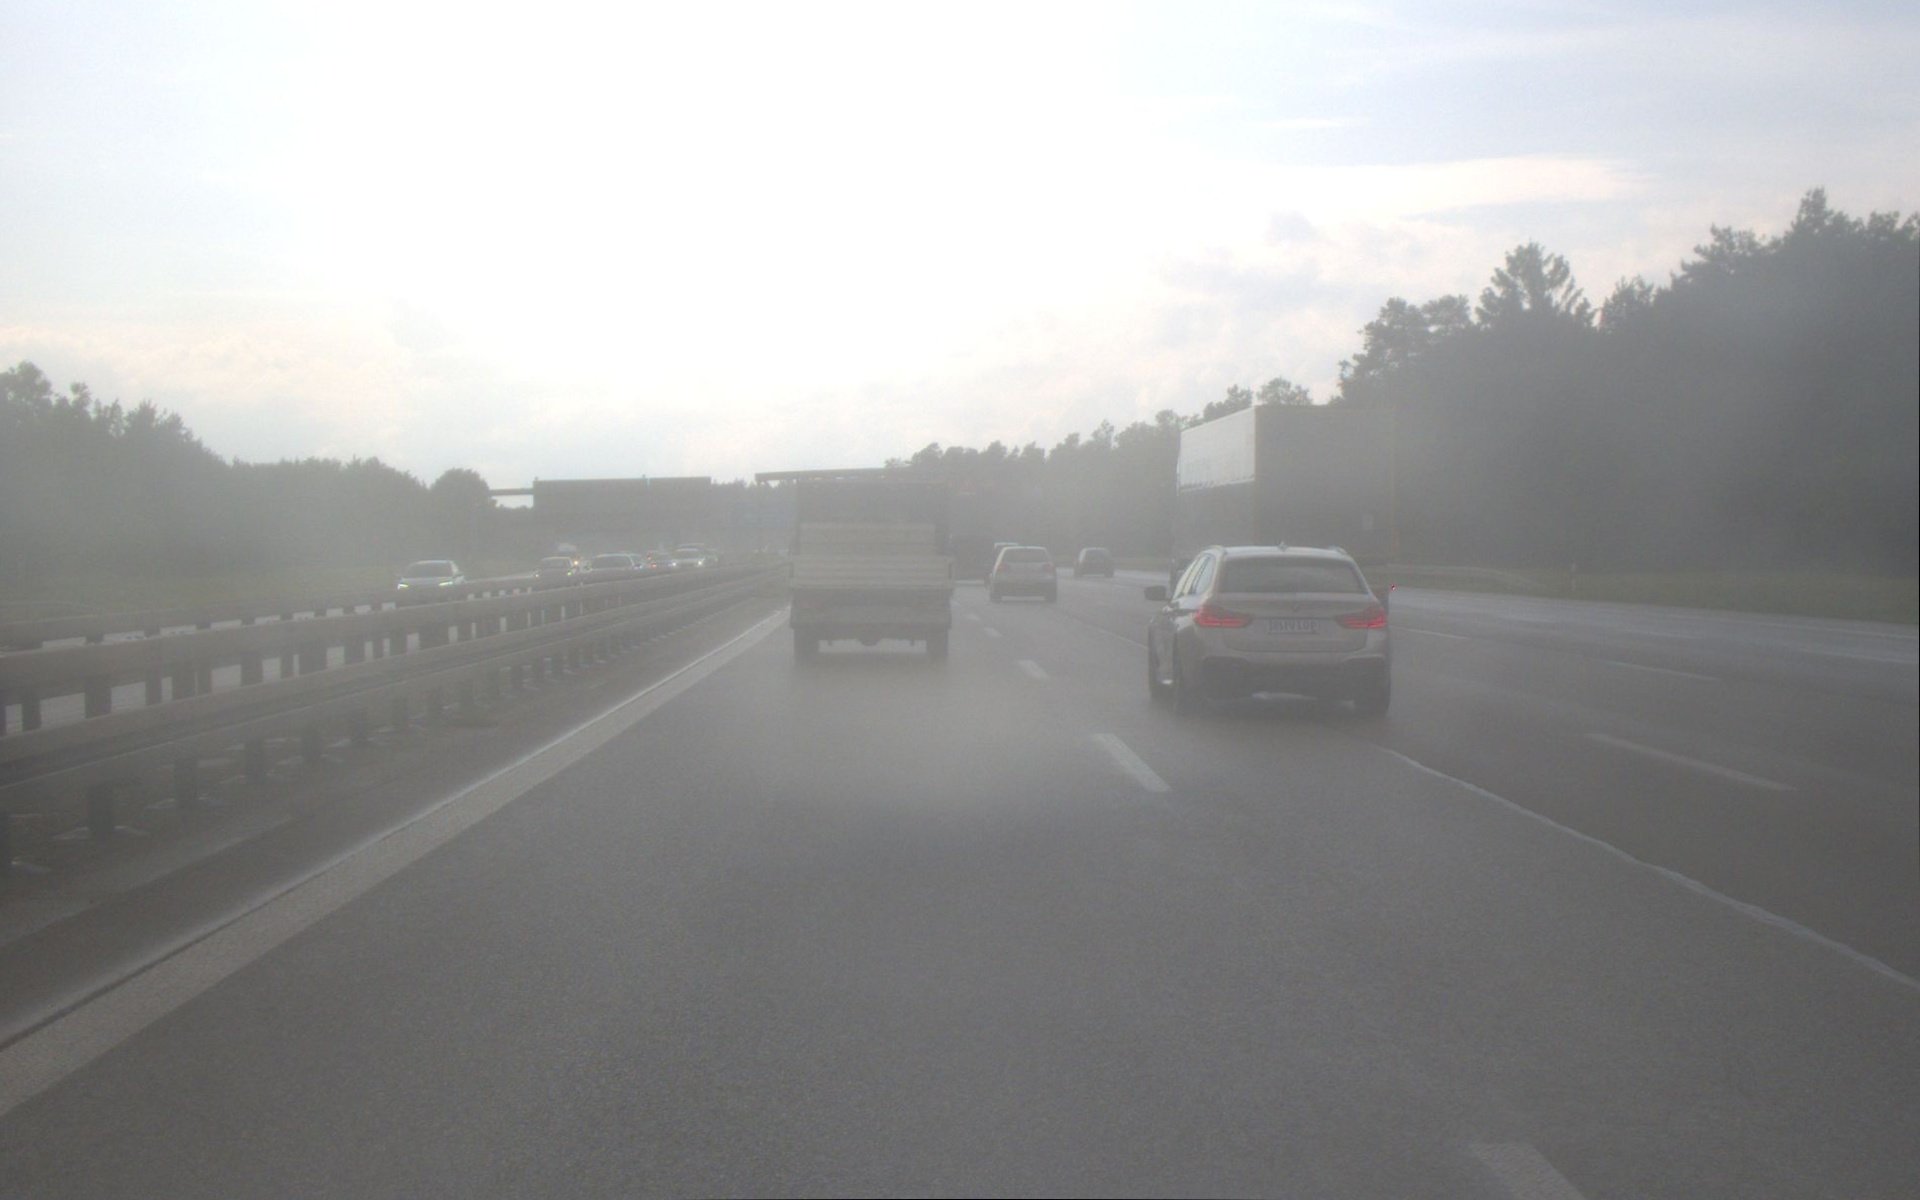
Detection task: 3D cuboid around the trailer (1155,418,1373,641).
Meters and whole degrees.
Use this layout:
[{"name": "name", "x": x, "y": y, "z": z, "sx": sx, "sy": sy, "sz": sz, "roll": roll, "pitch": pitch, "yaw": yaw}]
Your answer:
[{"name": "trailer", "x": 5.830, "y": -1.368, "z": 68.283, "sx": 2.323, "sy": 3.988, "sz": 13.414, "roll": 0, "pitch": 1, "yaw": -4}]

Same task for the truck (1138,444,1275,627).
[{"name": "truck", "x": 5.368, "y": -1.415, "z": 75.588, "sx": 2.293, "sy": 3.854, "sz": 5.393, "roll": -1, "pitch": 1, "yaw": -4}]

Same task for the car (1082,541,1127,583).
[{"name": "car", "x": 7.141, "y": -1.878, "z": 169.886, "sx": 1.993, "sy": 2.007, "sz": 4.000, "roll": 1, "pitch": 1, "yaw": 0}]

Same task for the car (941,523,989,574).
[{"name": "car", "x": 0.191, "y": -2.079, "z": 137.820, "sx": 1.908, "sy": 2.007, "sz": 4.000, "roll": 0, "pitch": 1, "yaw": 0}]

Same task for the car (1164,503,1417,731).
[{"name": "car", "x": 2.906, "y": 0.093, "z": 31.185, "sx": 2.078, "sy": 1.878, "sz": 5.011, "roll": 1, "pitch": 1, "yaw": 4}]

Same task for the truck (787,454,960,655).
[{"name": "truck", "x": -1.120, "y": -0.617, "z": 45.098, "sx": 2.137, "sy": 2.480, "sz": 5.313, "roll": 0, "pitch": 1, "yaw": -1}]

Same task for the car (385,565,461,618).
[{"name": "car", "x": -15.822, "y": -0.259, "z": 101.409, "sx": 1.728, "sy": 1.476, "sz": 4.001, "roll": -2, "pitch": 1, "yaw": -3}]

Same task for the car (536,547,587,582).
[{"name": "car", "x": -17.614, "y": -1.577, "z": 152.031, "sx": 1.811, "sy": 1.417, "sz": 4.237, "roll": -3, "pitch": 1, "yaw": -2}]

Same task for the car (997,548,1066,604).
[{"name": "car", "x": 1.937, "y": -0.674, "z": 93.437, "sx": 1.831, "sy": 1.461, "sz": 4.000, "roll": 0, "pitch": 1, "yaw": 1}]
